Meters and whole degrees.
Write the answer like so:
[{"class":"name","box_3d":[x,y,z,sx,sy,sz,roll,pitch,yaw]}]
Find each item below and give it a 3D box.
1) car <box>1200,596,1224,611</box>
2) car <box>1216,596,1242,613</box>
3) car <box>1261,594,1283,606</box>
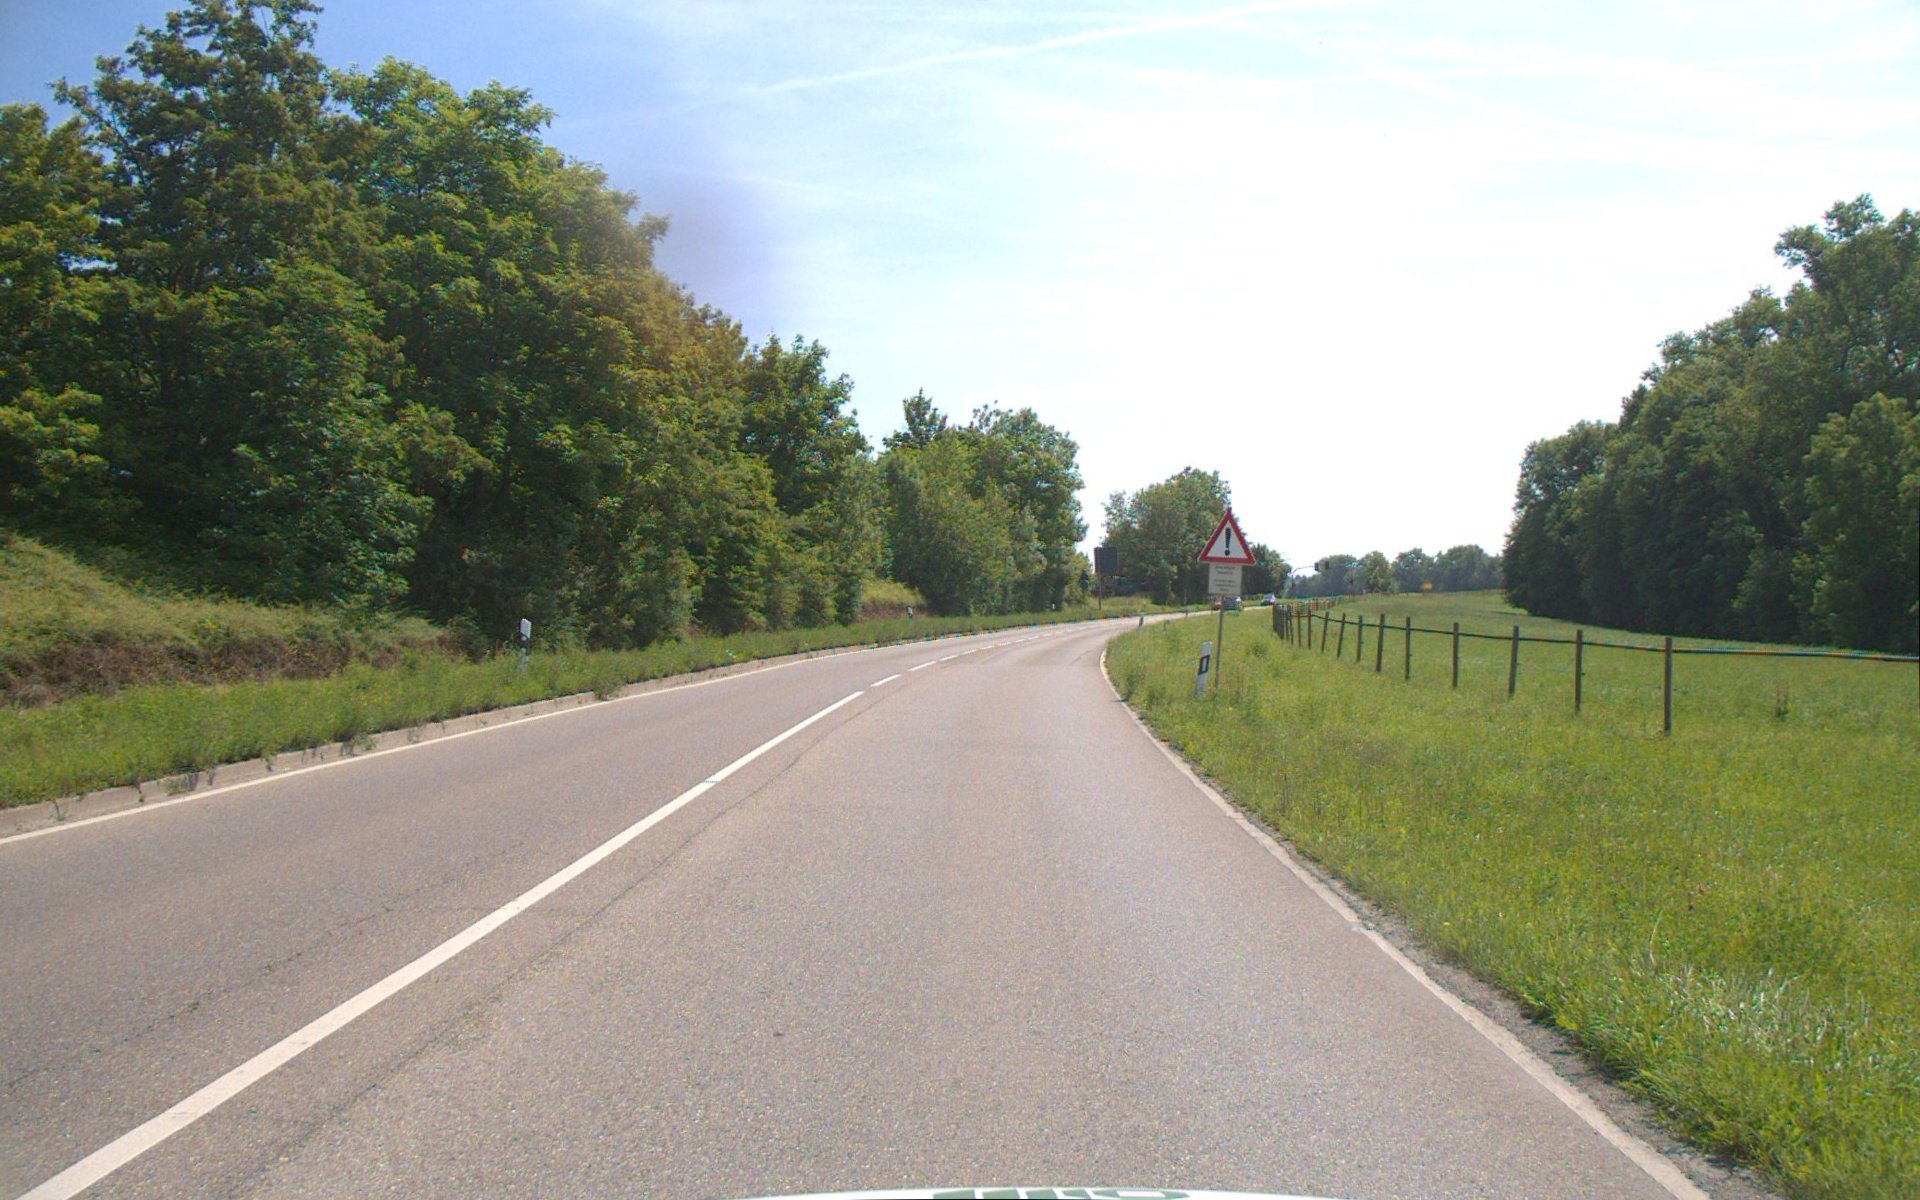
[{"class":"car","box_3d":[26.321,0.319,172.515,1.783,1.494,4.001,1,0,19]},{"class":"car","box_3d":[25.418,0.441,156.170,1.951,1.601,4.002,1,0,17]},{"class":"car","box_3d":[41.106,-0.014,217.848,1.786,1.494,3.995,1,0,27]}]
